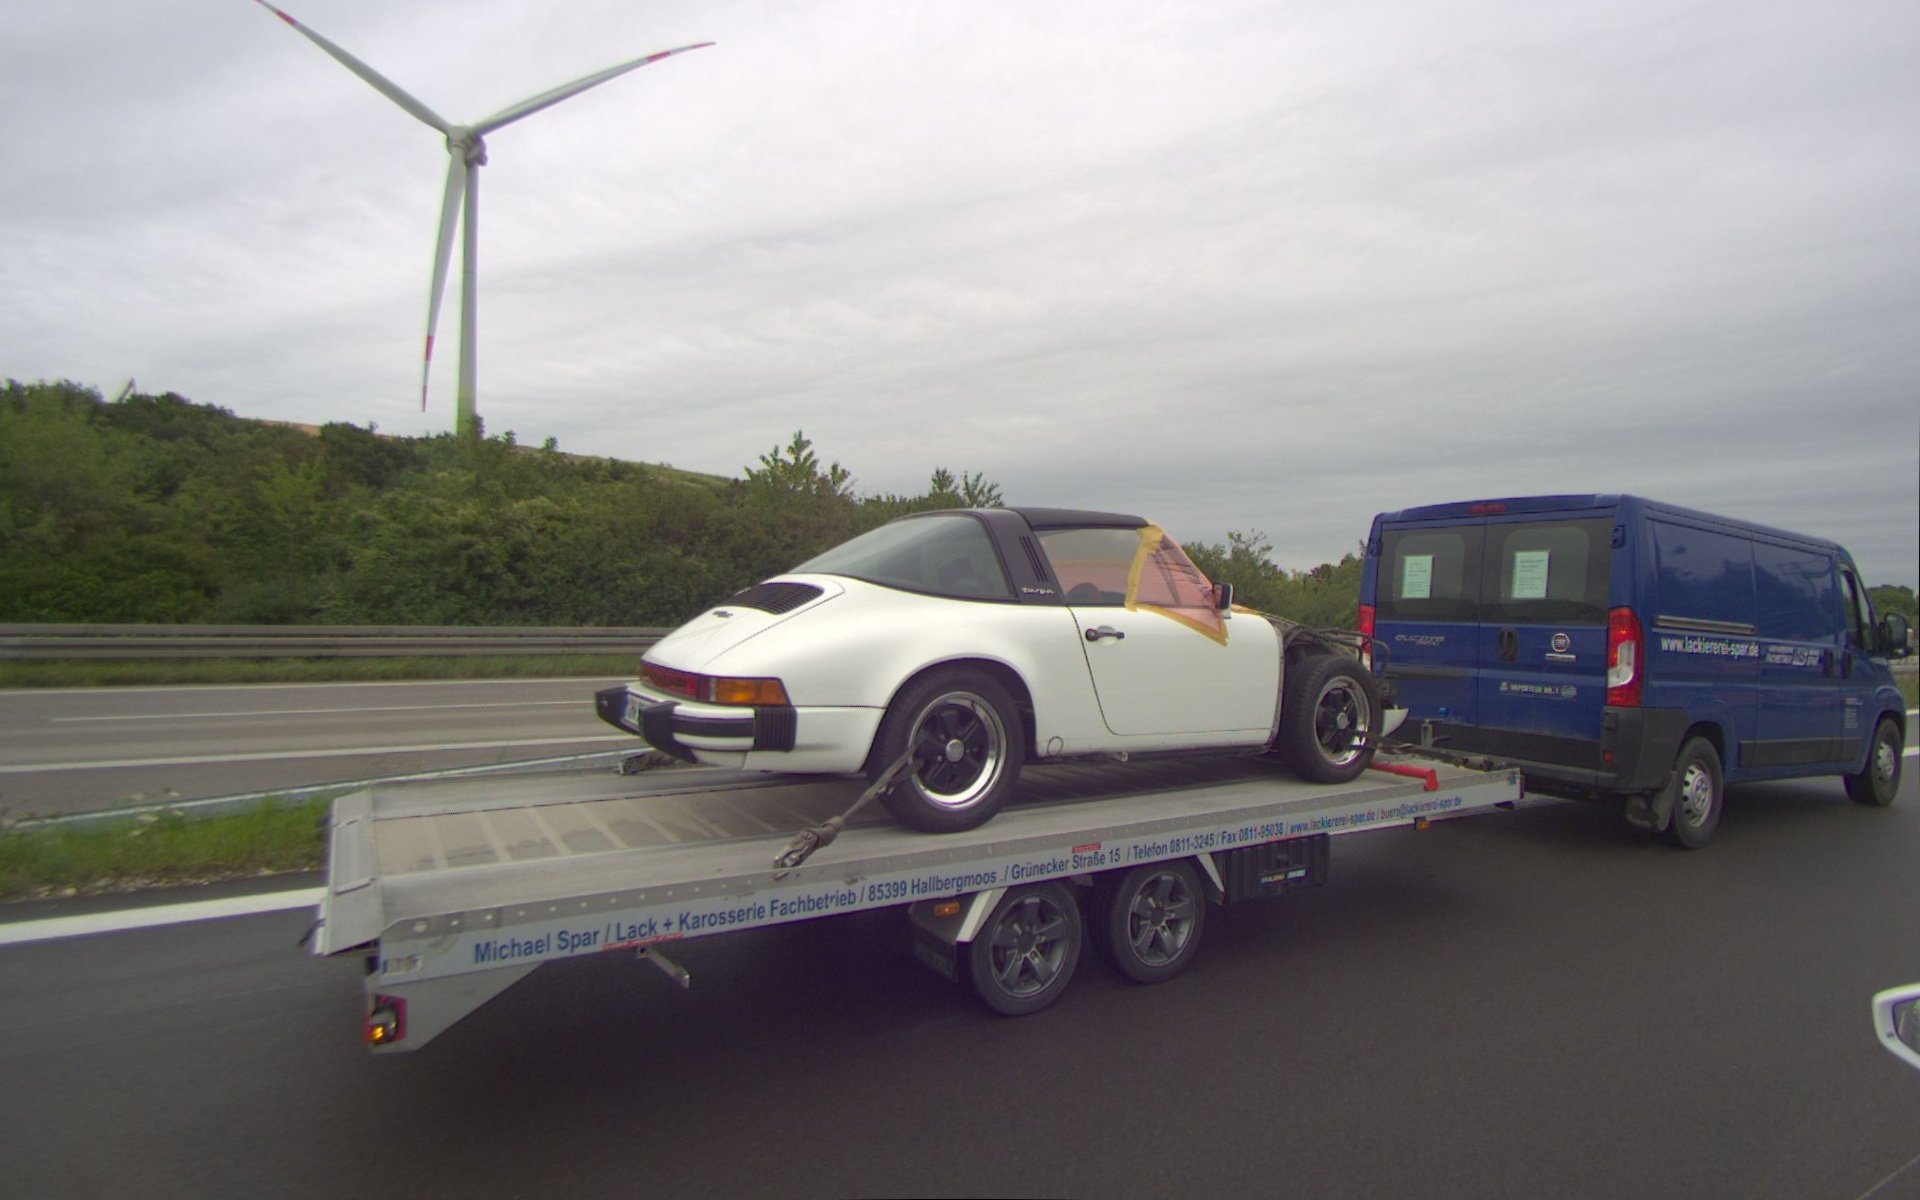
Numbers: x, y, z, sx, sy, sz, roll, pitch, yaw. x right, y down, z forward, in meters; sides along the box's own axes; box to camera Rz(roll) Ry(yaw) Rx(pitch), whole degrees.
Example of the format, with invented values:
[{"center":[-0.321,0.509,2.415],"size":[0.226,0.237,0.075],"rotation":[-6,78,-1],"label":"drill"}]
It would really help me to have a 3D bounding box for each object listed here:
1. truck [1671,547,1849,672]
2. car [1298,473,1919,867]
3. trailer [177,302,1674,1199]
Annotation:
[{"center":[27.291,0.403,34.164],"size":[7.268,3.863,2.621],"rotation":[2,0,-34],"label":"truck"},{"center":[5.919,0.473,8.502],"size":[6.187,2.296,2.360],"rotation":[2,0,-32],"label":"car"},{"center":[0.598,0.417,5.161],"size":[6.984,2.021,2.471],"rotation":[2,0,-32],"label":"trailer"}]
